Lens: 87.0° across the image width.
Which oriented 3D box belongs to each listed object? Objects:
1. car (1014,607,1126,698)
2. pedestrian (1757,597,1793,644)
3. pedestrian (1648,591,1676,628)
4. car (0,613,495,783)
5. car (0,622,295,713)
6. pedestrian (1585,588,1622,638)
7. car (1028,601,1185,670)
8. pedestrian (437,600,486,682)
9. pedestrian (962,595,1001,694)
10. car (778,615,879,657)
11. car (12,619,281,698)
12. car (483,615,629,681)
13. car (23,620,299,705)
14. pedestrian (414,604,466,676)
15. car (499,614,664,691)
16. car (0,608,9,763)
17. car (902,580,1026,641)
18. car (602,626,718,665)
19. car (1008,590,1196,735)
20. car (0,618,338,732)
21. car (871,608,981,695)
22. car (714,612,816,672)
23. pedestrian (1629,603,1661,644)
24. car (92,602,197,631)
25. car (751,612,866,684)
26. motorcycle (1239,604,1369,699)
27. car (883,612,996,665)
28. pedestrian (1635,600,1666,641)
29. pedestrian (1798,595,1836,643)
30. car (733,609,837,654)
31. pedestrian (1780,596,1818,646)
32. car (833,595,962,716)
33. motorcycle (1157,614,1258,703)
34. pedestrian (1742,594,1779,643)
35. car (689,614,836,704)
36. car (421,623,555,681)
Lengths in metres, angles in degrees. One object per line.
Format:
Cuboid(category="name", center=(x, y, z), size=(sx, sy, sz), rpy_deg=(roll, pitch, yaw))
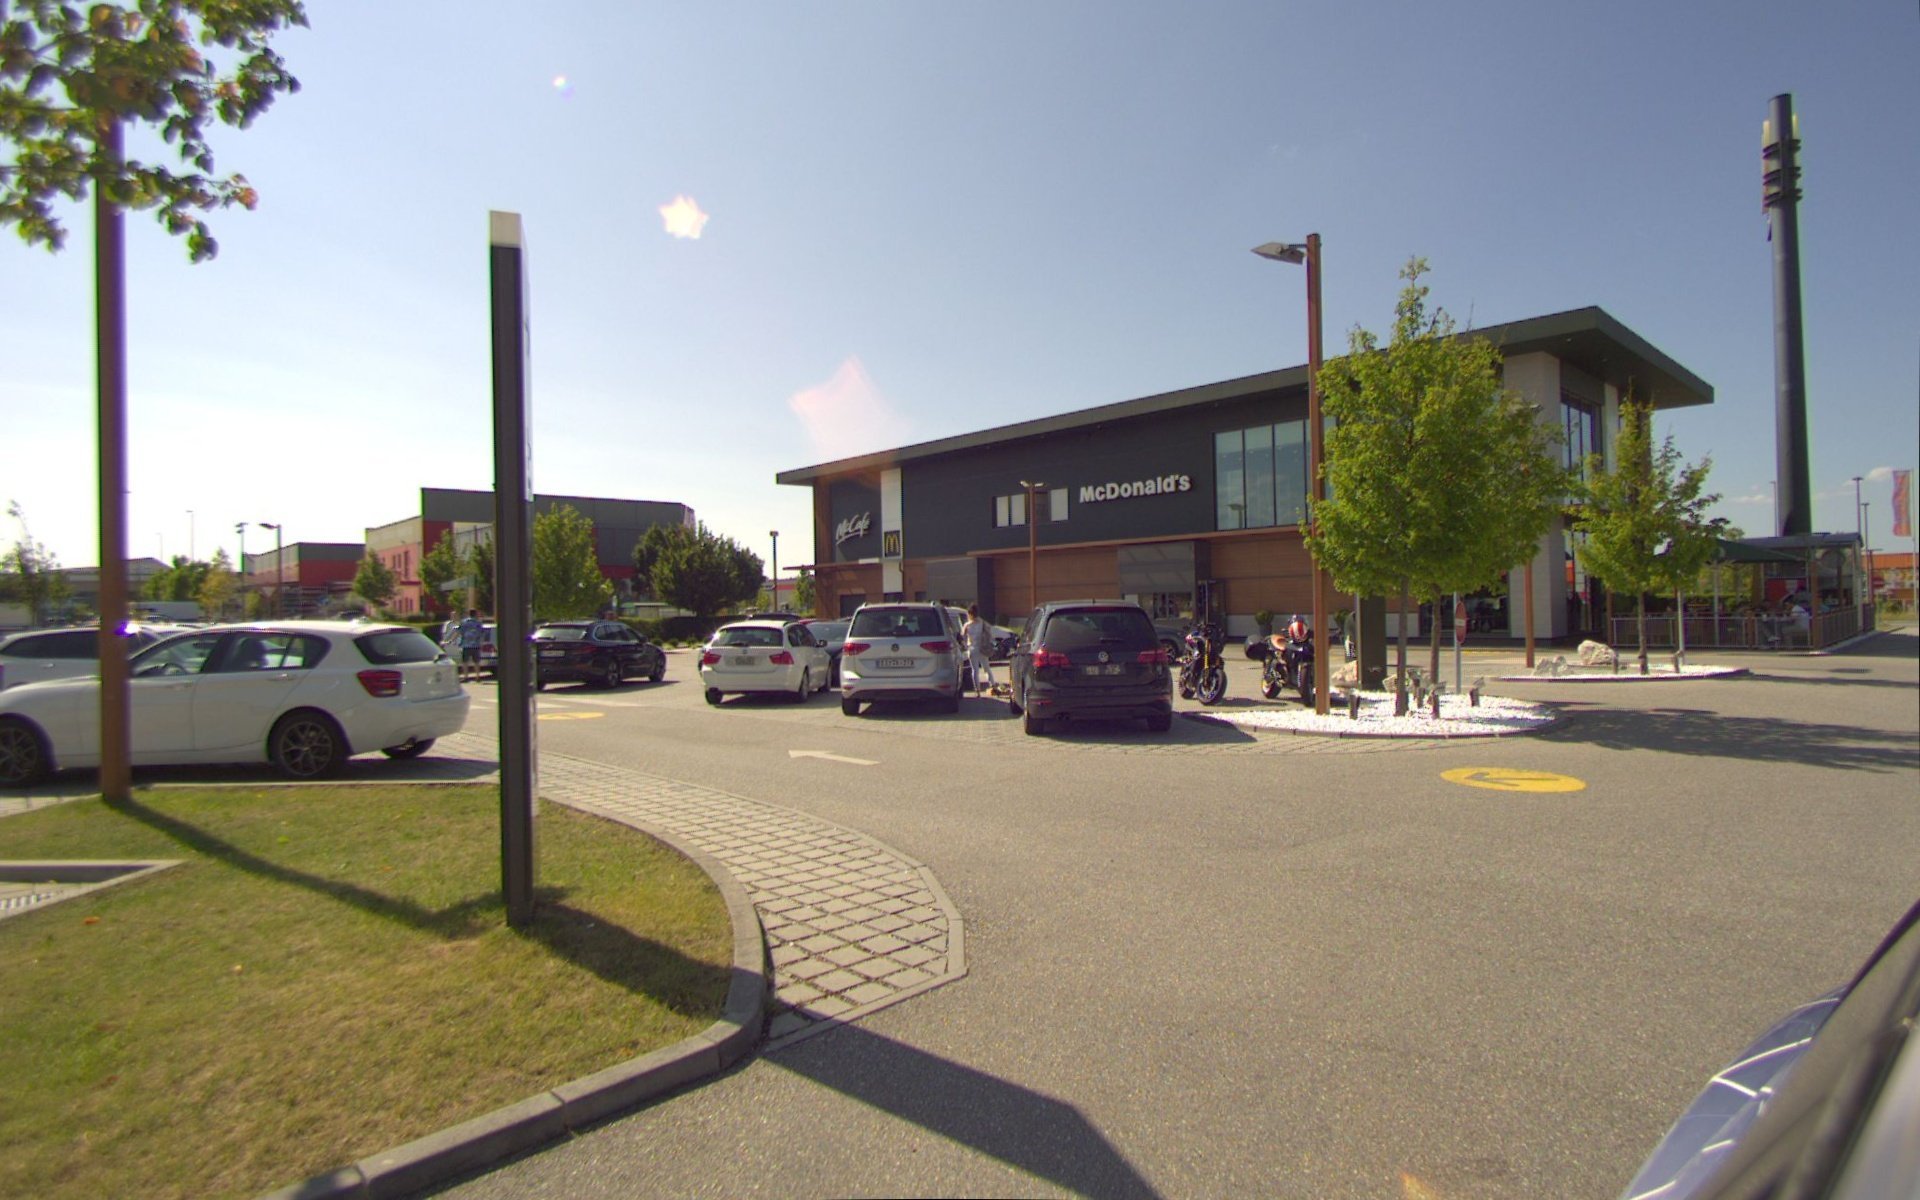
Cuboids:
Cuboid(category="car", center=(1.947, 0.961, 19.112), size=(1.802, 1.466, 4.656), rpy_deg=(-1, -2, 3))
Cuboid(category="pedestrian", center=(22.658, 0.565, 28.136), size=(0.713, 1.274, 0.516), rpy_deg=(-3, -2, 43))
Cuboid(category="pedestrian", center=(21.722, 0.302, 31.325), size=(0.646, 1.115, 0.571), rpy_deg=(0, -2, -45))
Cuboid(category="car", center=(-7.022, 0.887, 9.911), size=(4.106, 1.444, 1.844), rpy_deg=(-1, -1, 0))
Cuboid(category="car", center=(-14.053, 1.136, 17.517), size=(3.925, 1.421, 1.820), rpy_deg=(-1, -1, 2))
Cuboid(category="pedestrian", center=(21.162, 0.433, 33.279), size=(0.715, 1.604, 0.741), rpy_deg=(0, -2, -34))
Cuboid(category="car", center=(4.111, 0.986, 28.961), size=(4.148, 1.623, 1.791), rpy_deg=(-3, 1, 1))
Cuboid(category="pedestrian", center=(-12.239, 0.995, 24.843), size=(1.008, 1.940, 0.903), rpy_deg=(0, -1, -31))
Cuboid(category="pedestrian", center=(0.390, 0.788, 18.175), size=(0.601, 1.735, 0.562), rpy_deg=(-1, -1, 10))
Cuboid(category="car", center=(-5.147, 1.392, 39.437), size=(3.693, 1.462, 1.678), rpy_deg=(-2, -1, -15))
Cuboid(category="car", center=(-17.702, 1.230, 22.230), size=(4.262, 1.531, 1.782), rpy_deg=(-1, -1, -12))
Cuboid(category="car", center=(-10.439, 1.194, 26.542), size=(1.947, 1.530, 4.414), rpy_deg=(-1, -1, 2))
Cuboid(category="car", center=(-15.698, 1.189, 20.078), size=(3.918, 1.508, 1.823), rpy_deg=(-1, -1, -8))
Cuboid(category="pedestrian", center=(-14.225, 1.080, 27.687), size=(0.888, 1.940, 0.915), rpy_deg=(-1, -1, 12))
Cuboid(category="car", center=(-8.349, 1.099, 22.810), size=(1.947, 1.530, 4.414), rpy_deg=(-1, -1, 2))
Cuboid(category="car", center=(-10.828, 0.878, 8.549), size=(1.724, 1.596, 4.085), rpy_deg=(-1, -1, 1))
Cuboid(category="car", center=(0.087, 0.341, 34.332), size=(4.063, 1.946, 1.759), rpy_deg=(-1, -1, -4))
Cuboid(category="car", center=(-14.243, 2.111, 48.250), size=(1.918, 1.650, 4.983), rpy_deg=(-2, -1, 45))
Cuboid(category="car", center=(1.649, 0.712, 13.151), size=(1.860, 1.556, 4.189), rpy_deg=(-1, -1, 1))
Cuboid(category="car", center=(-11.939, 1.058, 14.909), size=(4.385, 1.490, 1.915), rpy_deg=(-1, -1, -2))
Cuboid(category="car", center=(-0.607, 0.997, 21.040), size=(1.780, 1.614, 3.993), rpy_deg=(-1, -1, 5))
Cuboid(category="car", center=(-5.370, 1.111, 28.471), size=(1.852, 1.530, 4.539), rpy_deg=(-1, -1, 2))
Cuboid(category="pedestrian", center=(19.204, 0.666, 28.379), size=(0.632, 1.138, 0.516), rpy_deg=(-3, -2, 43))
Cuboid(category="car", center=(-66.009, 1.311, 82.036), size=(6.464, 2.273, 2.294), rpy_deg=(0, -1, -44))
Cuboid(category="car", center=(-3.367, 1.035, 23.269), size=(1.796, 1.467, 4.071), rpy_deg=(-1, -1, 4))
Cuboid(category="motorcycle", center=(5.088, 0.761, 15.188), size=(1.050, 1.267, 2.252), rpy_deg=(-2, -2, -2))
Cuboid(category="car", center=(-0.658, 1.170, 31.195), size=(3.348, 1.501, 1.569), rpy_deg=(-1, -1, -3))
Cuboid(category="pedestrian", center=(19.633, 0.590, 28.785), size=(0.632, 1.138, 0.516), rpy_deg=(-3, -2, 43))
Cuboid(category="pedestrian", center=(23.264, 0.515, 27.480), size=(0.726, 1.274, 0.564), rpy_deg=(-2, -2, 42))
Cuboid(category="car", center=(-7.251, 1.277, 41.965), size=(3.955, 1.727, 1.678), rpy_deg=(-1, 0, -22))
Cuboid(category="pedestrian", center=(22.053, 0.554, 26.603), size=(0.726, 1.274, 0.564), rpy_deg=(-2, -2, 42))
Cuboid(category="car", center=(-0.872, 0.819, 16.235), size=(1.715, 1.661, 4.064), rpy_deg=(-1, -1, 1))
Cuboid(category="motorcycle", center=(3.753, 0.872, 15.576), size=(0.804, 1.247, 2.143), rpy_deg=(-1, -2, -6))
Cuboid(category="pedestrian", center=(21.214, 0.494, 26.822), size=(0.713, 1.274, 0.516), rpy_deg=(-3, -2, 43))
Cuboid(category="car", center=(-3.476, 1.011, 18.539), size=(1.760, 1.426, 4.078), rpy_deg=(-1, -1, 2))
Cuboid(category="car", center=(-12.769, 1.367, 27.630), size=(1.676, 1.444, 3.898), rpy_deg=(-1, -1, 4))
